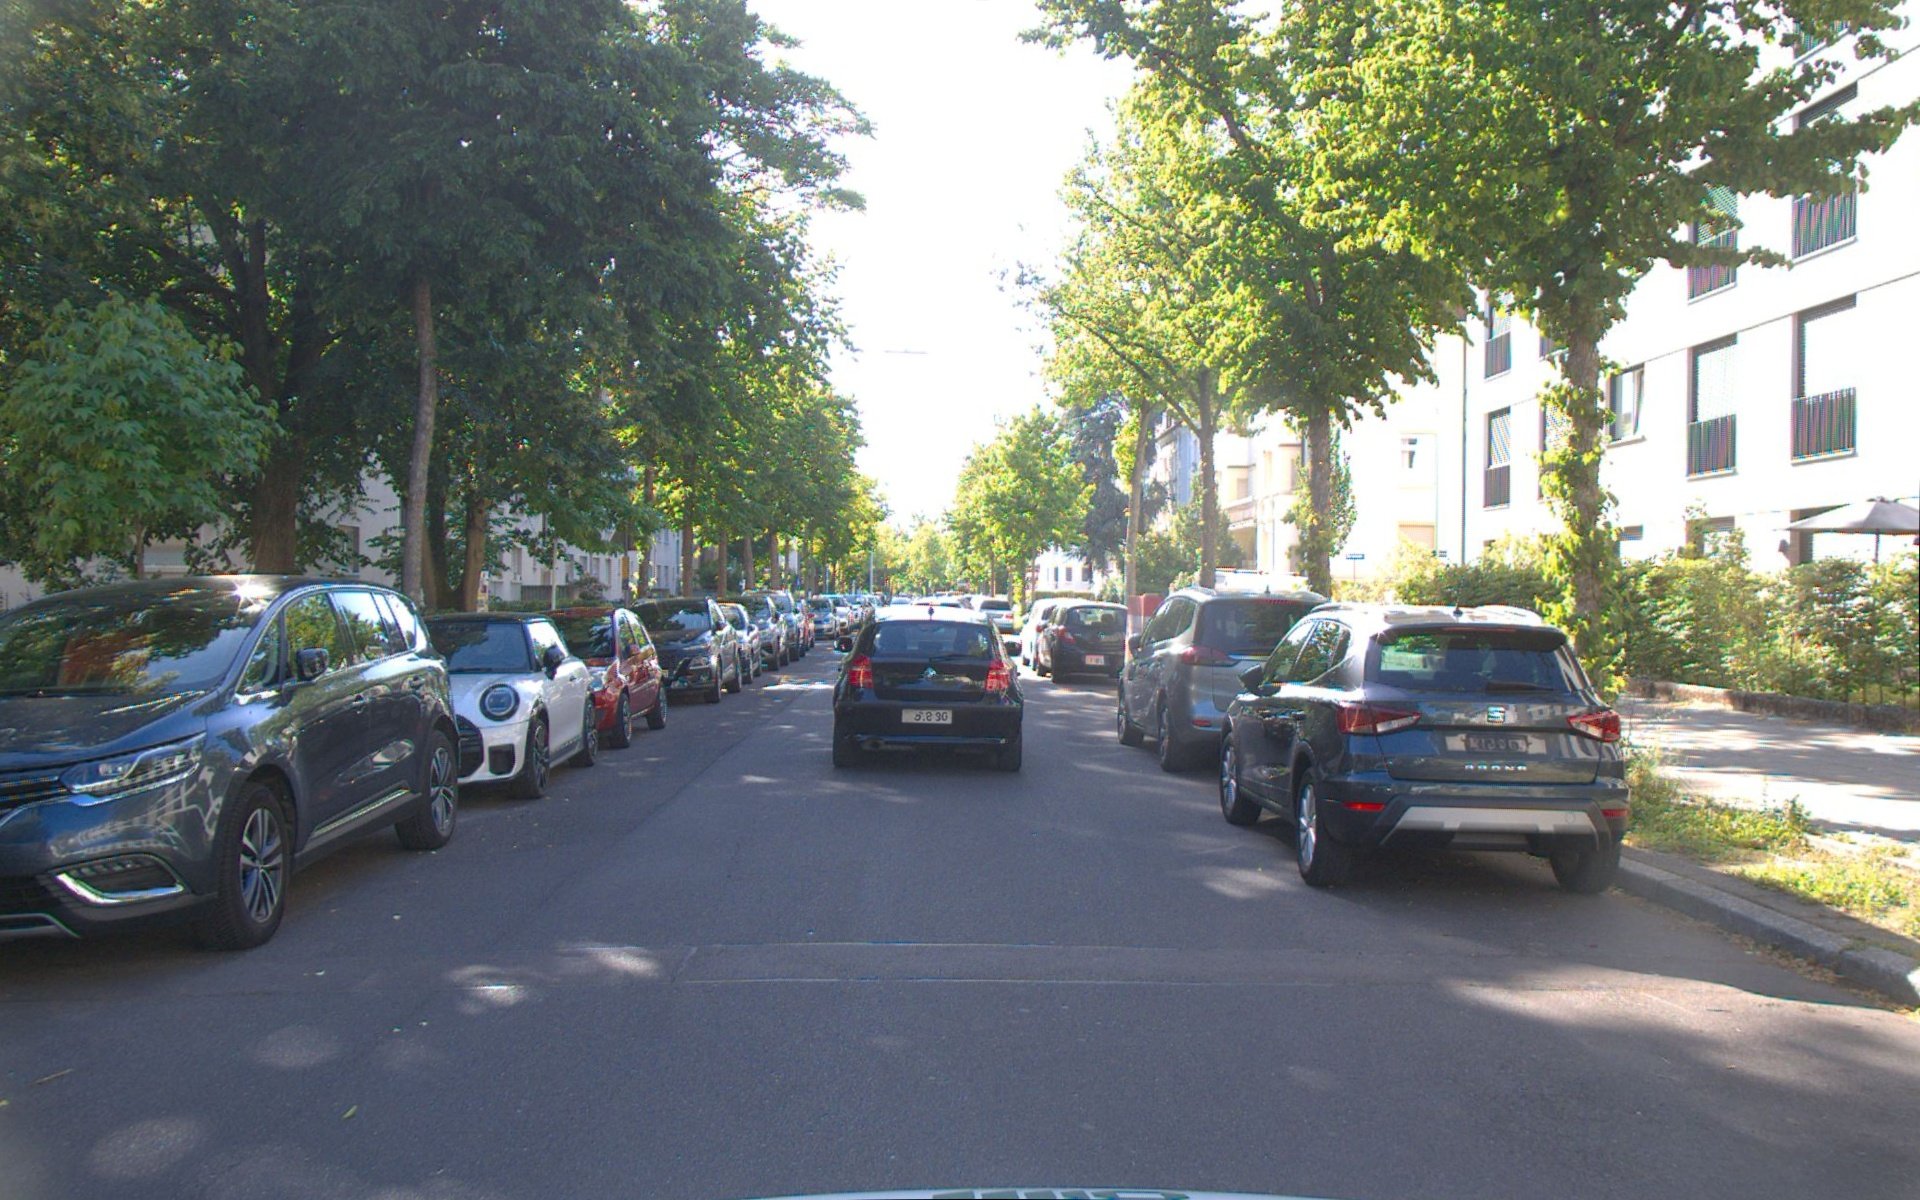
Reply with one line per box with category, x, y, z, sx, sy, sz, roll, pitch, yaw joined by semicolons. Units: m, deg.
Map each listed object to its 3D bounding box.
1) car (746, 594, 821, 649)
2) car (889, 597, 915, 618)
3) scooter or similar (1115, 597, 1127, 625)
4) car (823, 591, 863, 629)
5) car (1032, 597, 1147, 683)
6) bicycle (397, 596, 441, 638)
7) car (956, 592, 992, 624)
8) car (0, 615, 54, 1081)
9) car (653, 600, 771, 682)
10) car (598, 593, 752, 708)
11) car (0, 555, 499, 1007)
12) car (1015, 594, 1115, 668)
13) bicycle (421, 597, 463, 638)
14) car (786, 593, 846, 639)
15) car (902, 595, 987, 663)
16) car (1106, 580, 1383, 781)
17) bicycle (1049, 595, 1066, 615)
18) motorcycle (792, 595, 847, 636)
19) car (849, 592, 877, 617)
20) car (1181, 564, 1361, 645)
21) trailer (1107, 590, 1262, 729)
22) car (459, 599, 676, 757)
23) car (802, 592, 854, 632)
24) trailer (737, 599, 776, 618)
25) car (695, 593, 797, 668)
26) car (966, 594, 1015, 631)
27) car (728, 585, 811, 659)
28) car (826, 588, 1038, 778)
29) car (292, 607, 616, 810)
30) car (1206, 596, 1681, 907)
car;-5.069;0.588;47.930;1.819;1.495;4.181;0;0;-1
car;-4.267;0.564;121.450;1.773;1.471;4.364;-2;0;-3
scooter or similar;7.145;0.479;73.317;0.393;1.205;1.207;0;1;13
car;-5.552;0.448;78.972;1.694;1.646;4.364;-3;0;-3
car;2.407;0.707;31.750;1.637;1.476;4.176;2;0;-3
bicycle;-16.284;0.502;49.821;0.671;1.222;1.912;0;0;0
car;0.761;0.435;92.292;1.886;1.680;5.095;2;0;0
car;-3.866;0.827;3.425;1.672;1.506;4.487;-1;0;-3
car;-4.572;0.715;31.017;1.749;1.376;4.479;-1;0;-3
car;-4.341;0.710;25.810;1.671;1.604;4.481;-1;0;-1
car;-3.978;0.677;8.726;1.805;1.685;5.085;-1;0;-2
car;2.248;0.640;36.316;1.698;1.513;4.007;1;0;-3
bicycle;-15.591;0.511;49.825;0.671;1.222;1.912;0;0;0
car;-5.119;0.547;59.304;2.002;1.551;4.603;0;0;-3
car;-0.441;0.692;40.383;1.858;1.551;4.964;1;-1;-3
car;2.673;0.691;16.684;1.756;1.672;4.817;2;0;-2
bicycle;6.471;0.319;109.694;0.822;1.279;2.229;1;0;-5
motorcycle;-5.394;0.580;63.246;0.981;1.530;2.200;-1;0;-41
car;-6.517;0.270;111.654;1.775;1.624;4.231;-1;0;-2
car;9.318;0.111;49.569;4.977;2.346;2.217;0;0;-25
trailer;2.835;0.712;21.457;1.542;1.606;3.192;2;0;0
car;-4.244;0.770;18.471;1.621;1.531;4.066;-1;0;-3
car;-5.358;0.463;67.225;2.023;1.551;4.717;0;0;-5
trailer;-11.493;0.445;93.502;1.752;1.052;3.281;0;0;0
car;-4.654;0.623;36.445;1.733;1.558;4.419;0;0;-1
car;1.291;0.522;72.007;1.785;1.495;4.906;2;0;-3
car;-4.743;0.511;41.680;1.732;1.717;4.812;-1;0;-3
car;-0.329;0.679;15.756;1.747;1.550;3.998;-1;0;-3
car;-4.074;0.789;14.002;1.621;1.397;4.187;-1;0;-3
car;2.766;0.761;10.509;1.683;1.543;4.344;1;0;-1
